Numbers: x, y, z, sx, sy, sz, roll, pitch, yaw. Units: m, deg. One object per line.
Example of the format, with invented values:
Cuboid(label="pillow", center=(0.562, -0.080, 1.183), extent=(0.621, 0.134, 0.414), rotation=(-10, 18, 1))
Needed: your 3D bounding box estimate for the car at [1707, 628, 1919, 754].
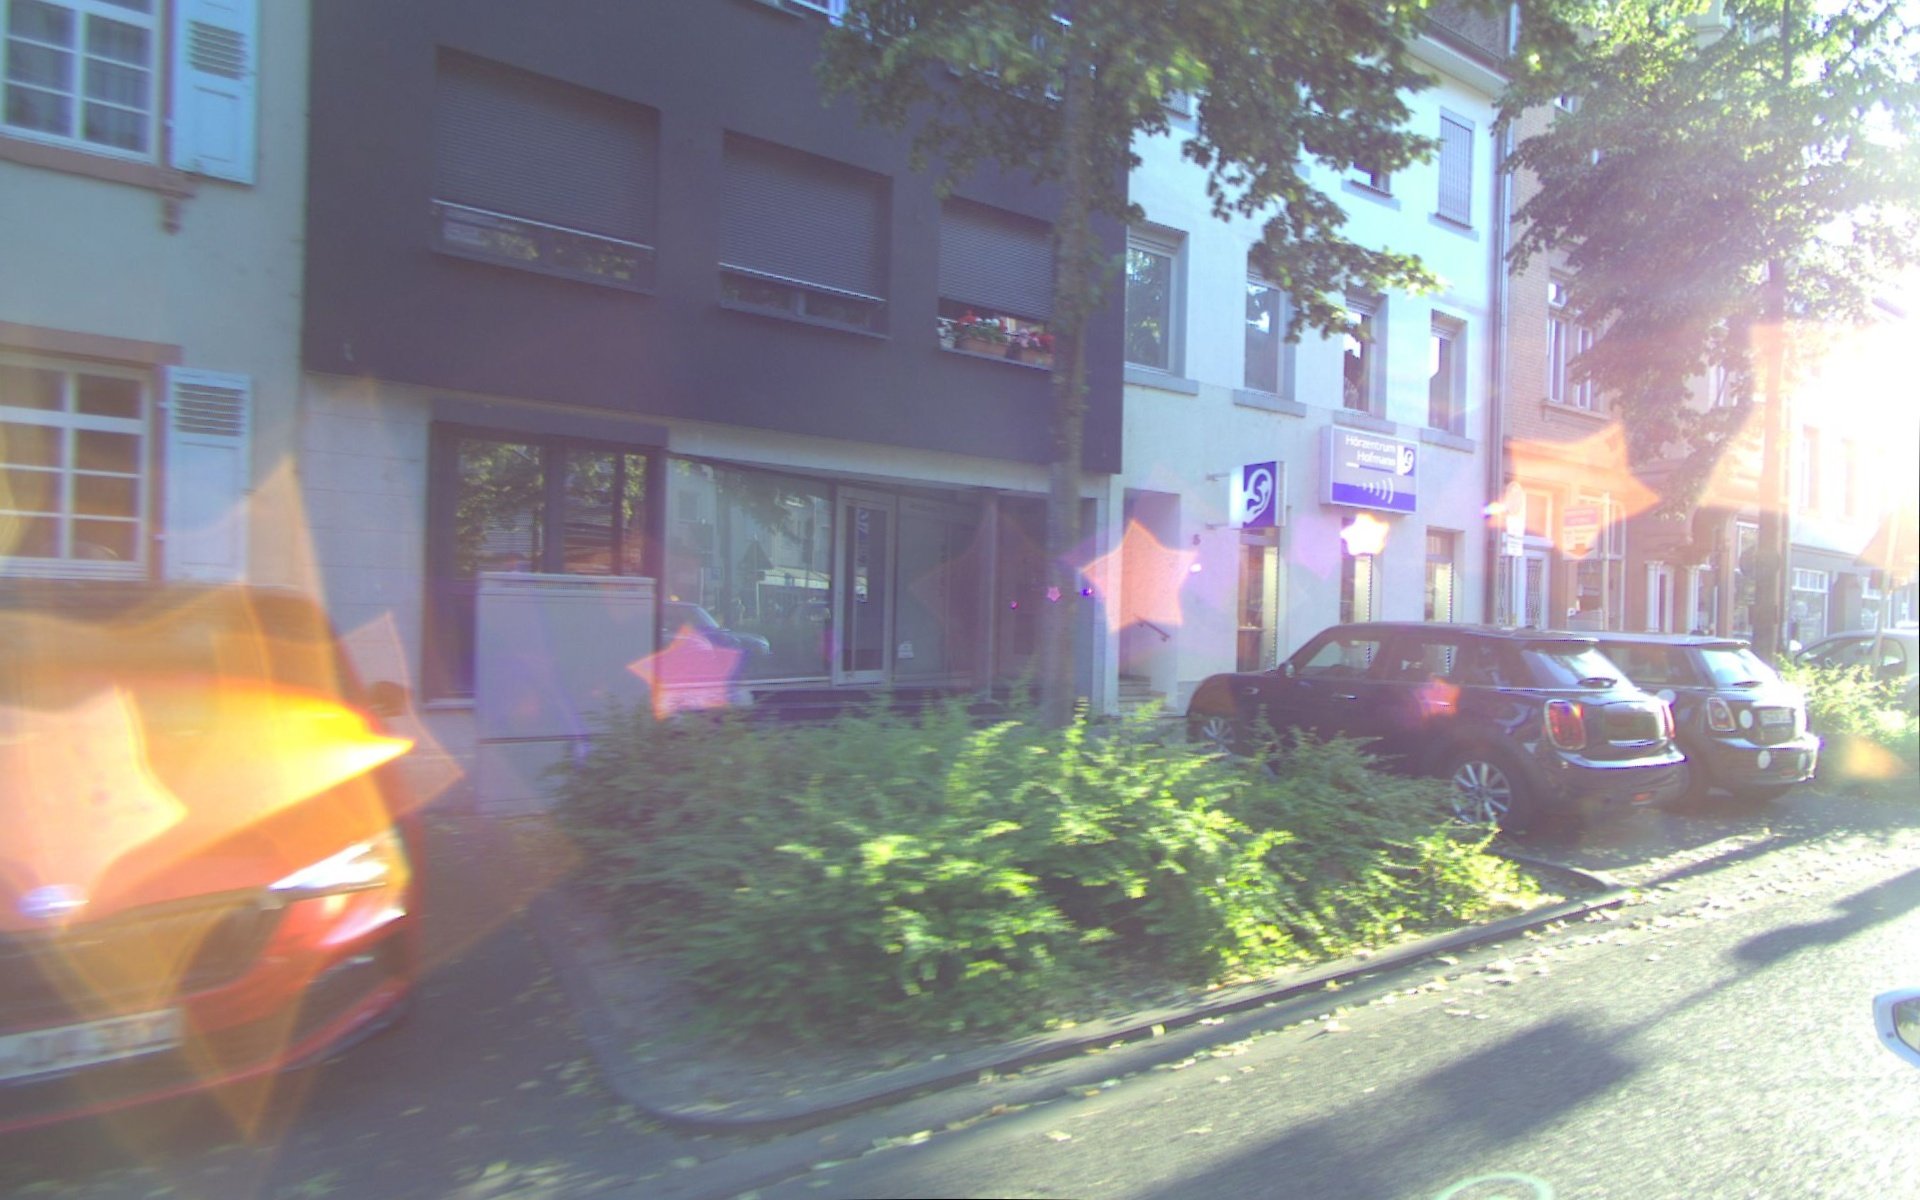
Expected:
Cuboid(label="car", center=(11.926, 1.152, 13.493), extent=(1.555, 1.540, 2.678), rotation=(1, -2, -34))

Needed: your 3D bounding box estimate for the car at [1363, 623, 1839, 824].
Cuboid(label="car", center=(5.767, 0.988, 9.435), extent=(1.666, 1.410, 3.382), rotation=(2, 0, -28))

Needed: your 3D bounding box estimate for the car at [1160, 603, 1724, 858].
Cuboid(label="car", center=(3.678, 0.844, 8.375), extent=(1.835, 1.537, 3.875), rotation=(2, 0, -30))

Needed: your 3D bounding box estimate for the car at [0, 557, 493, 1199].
Cuboid(label="car", center=(-3.215, 0.682, 4.082), extent=(1.744, 1.536, 4.182), rotation=(2, -1, -34))

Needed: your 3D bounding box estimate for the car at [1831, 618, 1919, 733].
Cuboid(label="car", center=(16.425, 1.244, 16.749), extent=(4.658, 1.751, 1.891), rotation=(3, -3, -36))

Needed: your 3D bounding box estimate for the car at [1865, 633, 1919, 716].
Cuboid(label="car", center=(19.712, 1.490, 19.857), extent=(3.444, 1.535, 1.765), rotation=(2, -1, -31))
